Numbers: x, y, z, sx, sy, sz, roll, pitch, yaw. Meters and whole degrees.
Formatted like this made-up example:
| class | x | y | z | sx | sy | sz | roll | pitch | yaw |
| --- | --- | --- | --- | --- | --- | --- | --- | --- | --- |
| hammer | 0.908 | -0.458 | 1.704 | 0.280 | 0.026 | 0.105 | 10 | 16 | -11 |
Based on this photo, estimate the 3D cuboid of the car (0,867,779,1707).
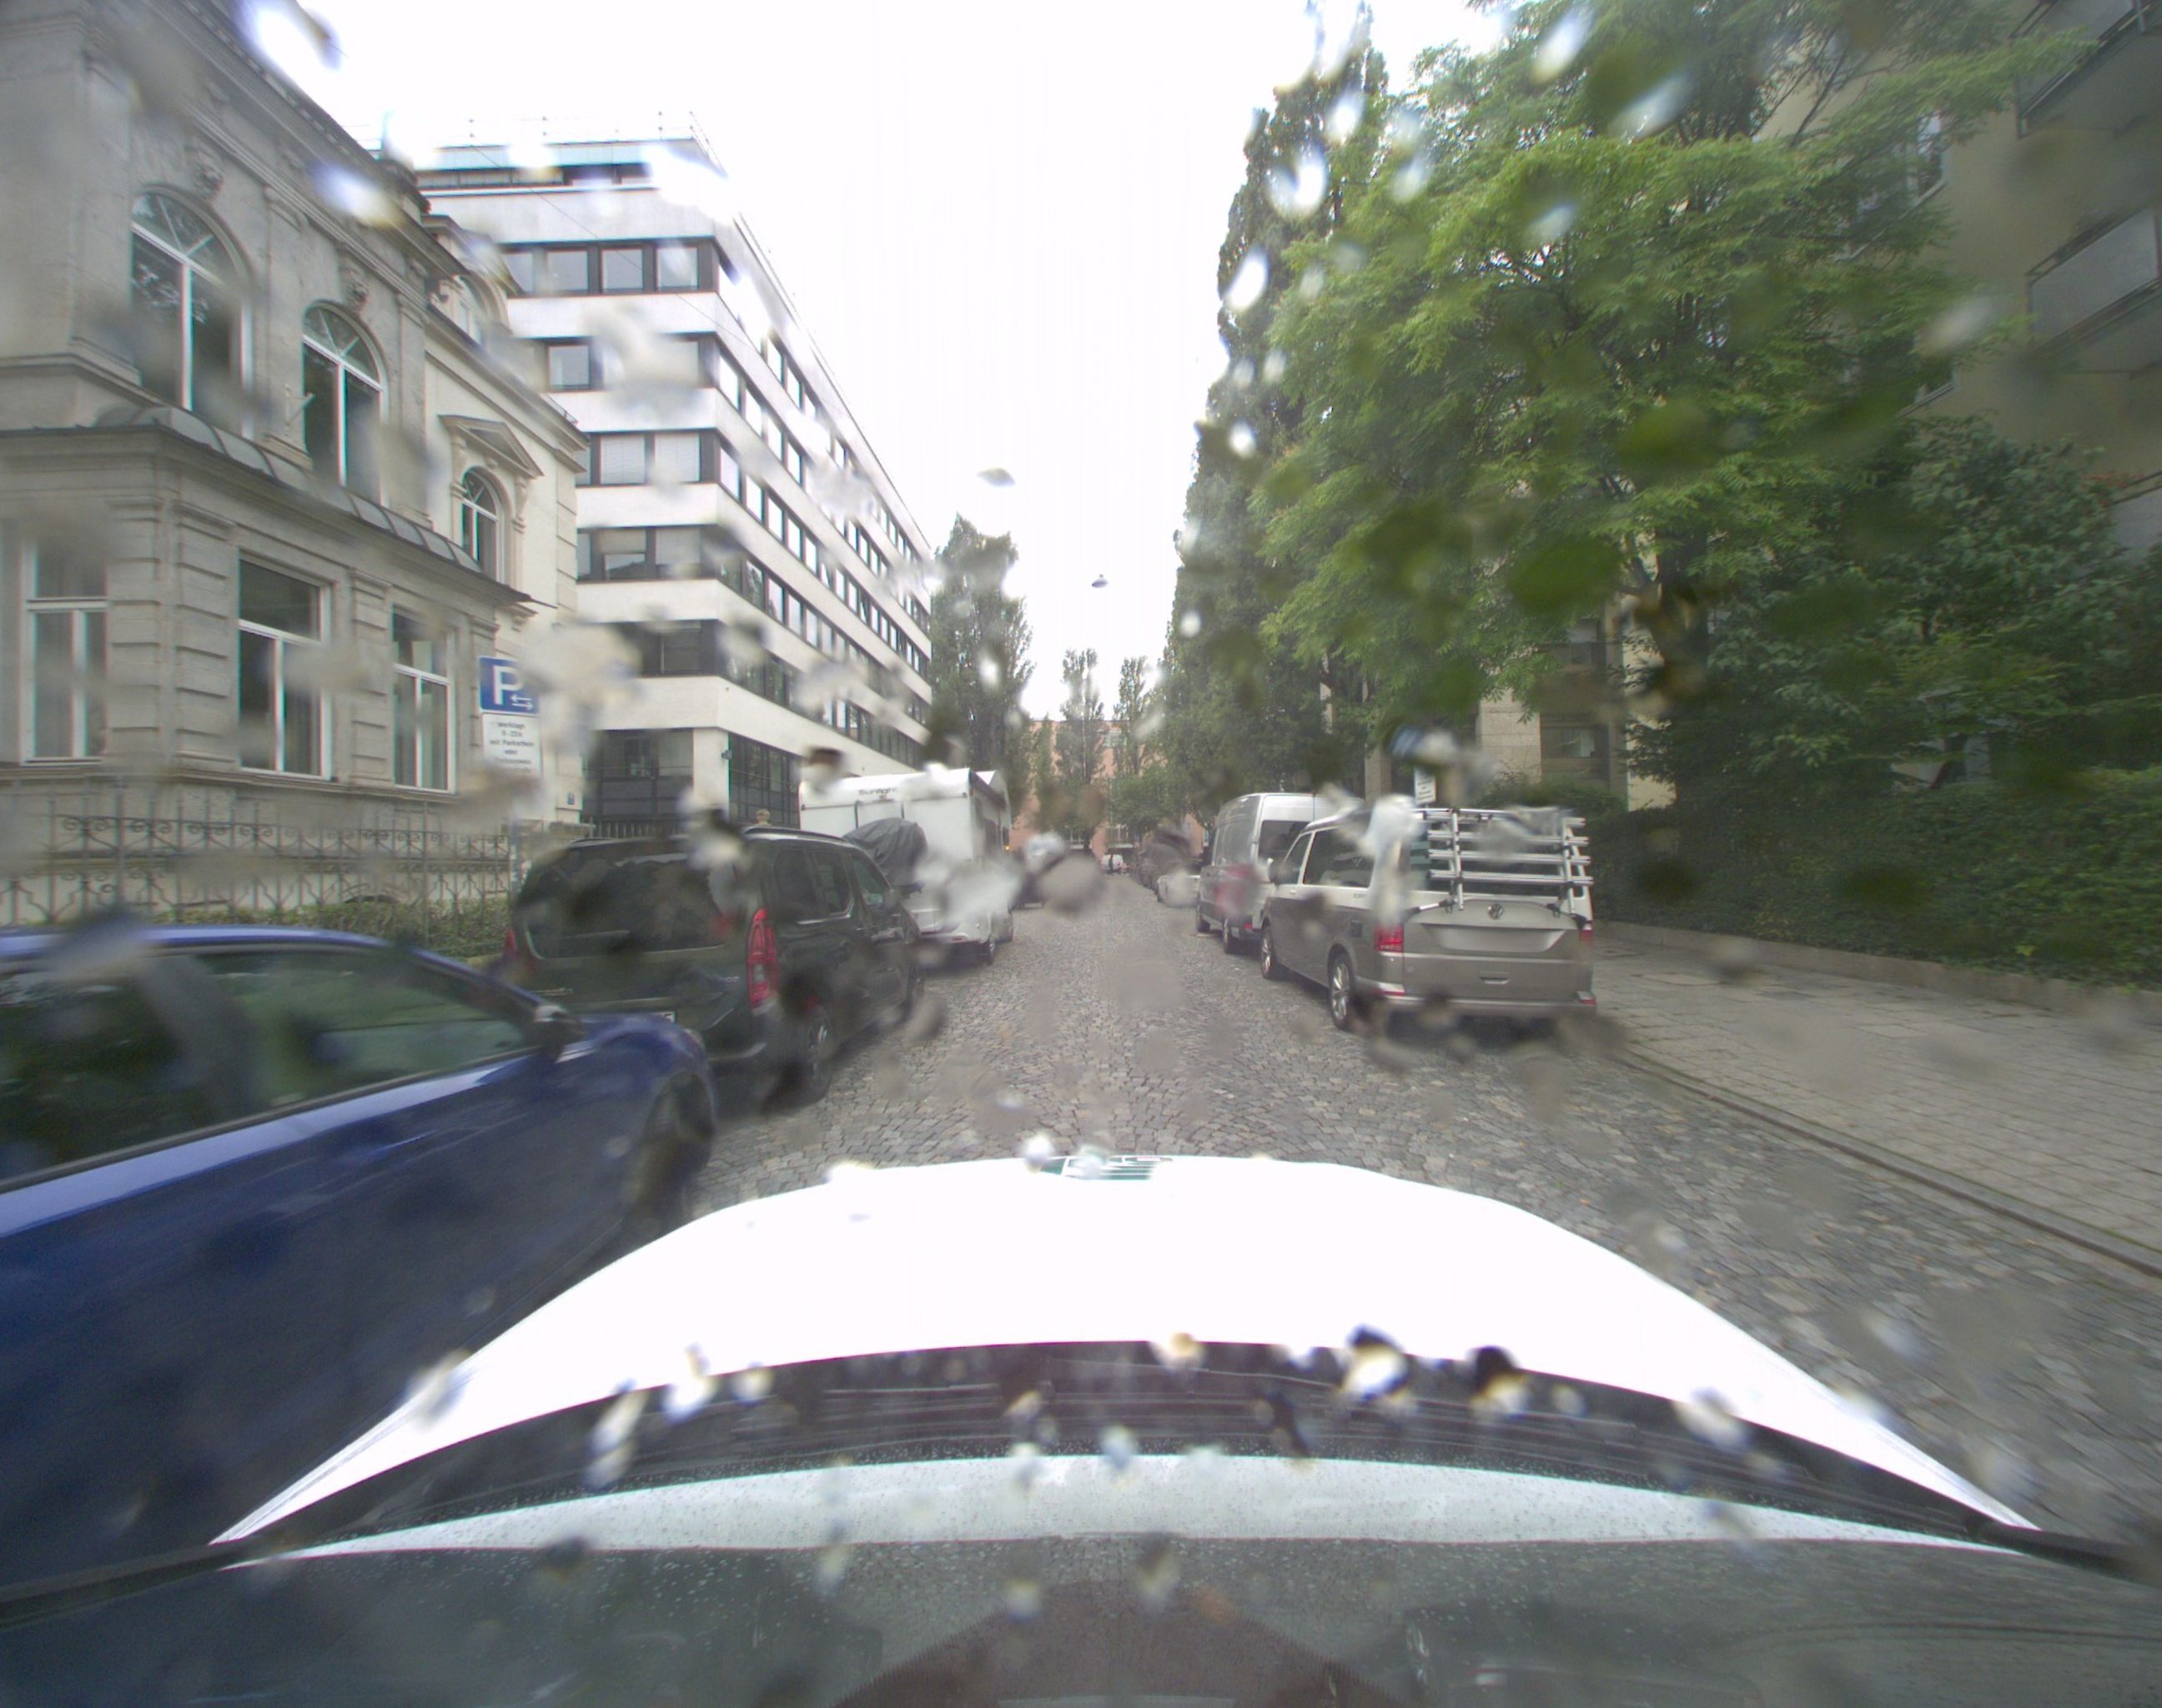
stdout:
| class | x | y | z | sx | sy | sz | roll | pitch | yaw |
| --- | --- | --- | --- | --- | --- | --- | --- | --- | --- |
| car | -2.478 | 0.774 | 1.972 | 1.933 | 1.459 | 4.057 | -1 | -1 | 0 |

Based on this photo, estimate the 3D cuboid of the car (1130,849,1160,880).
| class | x | y | z | sx | sy | sz | roll | pitch | yaw |
| --- | --- | --- | --- | --- | --- | --- | --- | --- | --- |
| car | 4.145 | 0.688 | 53.313 | 1.860 | 1.961 | 4.003 | -1 | -1 | 3 |

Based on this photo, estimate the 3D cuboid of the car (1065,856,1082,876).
| class | x | y | z | sx | sy | sz | roll | pitch | yaw |
| --- | --- | --- | --- | --- | --- | --- | --- | --- | --- |
| car | -0.631 | 1.004 | 67.529 | 1.272 | 1.541 | 3.119 | -1 | -1 | 1 |

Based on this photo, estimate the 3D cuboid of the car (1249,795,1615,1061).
| class | x | y | z | sx | sy | sz | roll | pitch | yaw |
| --- | --- | --- | --- | --- | --- | --- | --- | --- | --- |
| car | 3.150 | 0.587 | 8.563 | 1.794 | 1.950 | 4.860 | 2 | -1 | 1 |

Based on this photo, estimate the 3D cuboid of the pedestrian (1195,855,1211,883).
| class | x | y | z | sx | sy | sz | roll | pitch | yaw |
| --- | --- | --- | --- | --- | --- | --- | --- | --- | --- |
| pedestrian | 7.430 | 0.918 | 49.631 | 0.789 | 1.719 | 0.854 | -1 | -1 | -4 |

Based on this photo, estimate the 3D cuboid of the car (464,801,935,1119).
| class | x | y | z | sx | sy | sz | roll | pitch | yaw |
| --- | --- | --- | --- | --- | --- | --- | --- | --- | --- |
| car | -2.557 | 0.615 | 6.747 | 1.888 | 1.751 | 4.167 | -2 | 0 | 0 |

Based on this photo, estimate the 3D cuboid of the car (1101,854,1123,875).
| class | x | y | z | sx | sy | sz | roll | pitch | yaw |
| --- | --- | --- | --- | --- | --- | --- | --- | --- | --- |
| car | 2.979 | 1.003 | 76.807 | 1.988 | 1.936 | 4.003 | -1 | -1 | 3 |

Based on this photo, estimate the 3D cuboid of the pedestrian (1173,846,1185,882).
| class | x | y | z | sx | sy | sz | roll | pitch | yaw |
| --- | --- | --- | --- | --- | --- | --- | --- | --- | --- |
| pedestrian | 6.123 | 0.638 | 50.962 | 0.708 | 2.191 | 0.814 | -1 | -1 | 3 |

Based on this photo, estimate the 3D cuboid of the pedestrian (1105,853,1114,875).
| class | x | y | z | sx | sy | sz | roll | pitch | yaw |
| --- | --- | --- | --- | --- | --- | --- | --- | --- | --- |
| pedestrian | 2.494 | 0.905 | 71.060 | 0.722 | 1.910 | 0.641 | -1 | -1 | 3 |

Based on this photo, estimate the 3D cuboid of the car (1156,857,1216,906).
| class | x | y | z | sx | sy | sz | roll | pitch | yaw |
| --- | --- | --- | --- | --- | --- | --- | --- | --- | --- |
| car | 3.400 | 0.887 | 26.891 | 1.594 | 1.486 | 3.479 | -1 | -1 | 1 |

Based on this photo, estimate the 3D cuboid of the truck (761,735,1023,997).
| class | x | y | z | sx | sy | sz | roll | pitch | yaw |
| --- | --- | --- | --- | --- | --- | --- | --- | --- | --- |
| truck | -2.500 | 0.150 | 13.007 | 2.500 | 3.031 | 6.384 | -3 | 0 | 0 |

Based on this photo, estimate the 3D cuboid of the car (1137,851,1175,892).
| class | x | y | z | sx | sy | sz | roll | pitch | yaw |
| --- | --- | --- | --- | --- | --- | --- | --- | --- | --- |
| car | 3.249 | 0.743 | 35.778 | 1.465 | 1.706 | 3.119 | -1 | -1 | 1 |

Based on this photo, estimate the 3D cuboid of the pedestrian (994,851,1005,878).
| class | x | y | z | sx | sy | sz | roll | pitch | yaw |
| --- | --- | --- | --- | --- | --- | --- | --- | --- | --- |
| pedestrian | -5.588 | 0.729 | 55.851 | 0.600 | 1.878 | 0.548 | -1 | -1 | 1 |

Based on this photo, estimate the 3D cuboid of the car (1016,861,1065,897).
| class | x | y | z | sx | sy | sz | roll | pitch | yaw |
| --- | --- | --- | --- | --- | --- | --- | --- | --- | --- |
| car | -1.571 | 0.956 | 32.308 | 1.656 | 1.329 | 3.548 | -1 | -1 | 1 |

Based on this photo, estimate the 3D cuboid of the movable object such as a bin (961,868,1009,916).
| class | x | y | z | sx | sy | sz | roll | pitch | yaw |
| --- | --- | --- | --- | --- | --- | --- | --- | --- | --- |
| movable object such as a bin | -2.861 | 1.115 | 24.440 | 1.229 | 1.363 | 1.111 | -1 | -1 | 1 |

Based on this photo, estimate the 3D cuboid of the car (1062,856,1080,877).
| class | x | y | z | sx | sy | sz | roll | pitch | yaw |
| --- | --- | --- | --- | --- | --- | --- | --- | --- | --- |
| car | -0.739 | 0.974 | 62.644 | 1.286 | 1.540 | 3.119 | -1 | -1 | 1 |

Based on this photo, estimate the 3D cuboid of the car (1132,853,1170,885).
| class | x | y | z | sx | sy | sz | roll | pitch | yaw |
| --- | --- | --- | --- | --- | --- | --- | --- | --- | --- |
| car | 3.610 | 0.774 | 42.399 | 1.860 | 1.605 | 3.274 | -1 | -1 | 3 |

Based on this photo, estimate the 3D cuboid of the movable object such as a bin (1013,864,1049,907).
| class | x | y | z | sx | sy | sz | roll | pitch | yaw |
| --- | --- | --- | --- | --- | --- | --- | --- | --- | --- |
| movable object such as a bin | -1.626 | 1.010 | 26.727 | 1.060 | 1.363 | 1.290 | -1 | -1 | 1 |

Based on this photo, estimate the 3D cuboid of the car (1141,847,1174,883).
| class | x | y | z | sx | sy | sz | roll | pitch | yaw |
| --- | --- | --- | --- | --- | --- | --- | --- | --- | --- |
| car | 4.506 | 0.663 | 48.229 | 1.736 | 2.031 | 3.868 | -1 | -1 | 3 |

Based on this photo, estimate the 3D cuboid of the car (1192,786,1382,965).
| class | x | y | z | sx | sy | sz | roll | pitch | yaw |
| --- | --- | --- | --- | --- | --- | --- | --- | --- | --- |
| car | 3.282 | 0.298 | 14.266 | 1.888 | 2.426 | 5.611 | 3 | 0 | 1 |

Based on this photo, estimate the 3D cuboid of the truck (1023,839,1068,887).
| class | x | y | z | sx | sy | sz | roll | pitch | yaw |
| --- | --- | --- | --- | --- | --- | --- | --- | --- | --- |
| truck | -1.774 | 0.469 | 42.111 | 1.986 | 2.347 | 4.069 | -1 | -1 | 1 |

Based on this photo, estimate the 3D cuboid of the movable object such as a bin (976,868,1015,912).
| class | x | y | z | sx | sy | sz | roll | pitch | yaw |
| --- | --- | --- | --- | --- | --- | --- | --- | --- | --- |
| movable object such as a bin | -2.730 | 1.150 | 26.127 | 1.069 | 1.363 | 1.272 | -1 | -1 | 0 |

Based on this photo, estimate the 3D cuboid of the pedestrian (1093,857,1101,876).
| class | x | y | z | sx | sy | sz | roll | pitch | yaw |
| --- | --- | --- | --- | --- | --- | --- | --- | --- | --- |
| pedestrian | 1.436 | 1.097 | 72.464 | 0.686 | 1.687 | 0.499 | -1 | -1 | -4 |

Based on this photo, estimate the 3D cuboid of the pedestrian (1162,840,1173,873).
| class | x | y | z | sx | sy | sz | roll | pitch | yaw |
| --- | --- | --- | --- | --- | --- | --- | --- | --- | --- |
| pedestrian | 6.479 | 0.167 | 61.063 | 0.708 | 2.426 | 0.814 | -1 | -1 | 3 |

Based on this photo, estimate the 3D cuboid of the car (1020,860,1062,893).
| class | x | y | z | sx | sy | sz | roll | pitch | yaw |
| --- | --- | --- | --- | --- | --- | --- | --- | --- | --- |
| car | -1.786 | 1.008 | 37.608 | 1.656 | 1.455 | 3.548 | -1 | -1 | 1 |

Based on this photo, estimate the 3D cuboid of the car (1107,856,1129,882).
| class | x | y | z | sx | sy | sz | roll | pitch | yaw |
| --- | --- | --- | --- | --- | --- | --- | --- | --- | --- |
| car | 2.546 | 1.037 | 56.710 | 1.465 | 1.706 | 3.119 | -1 | -1 | 1 |
